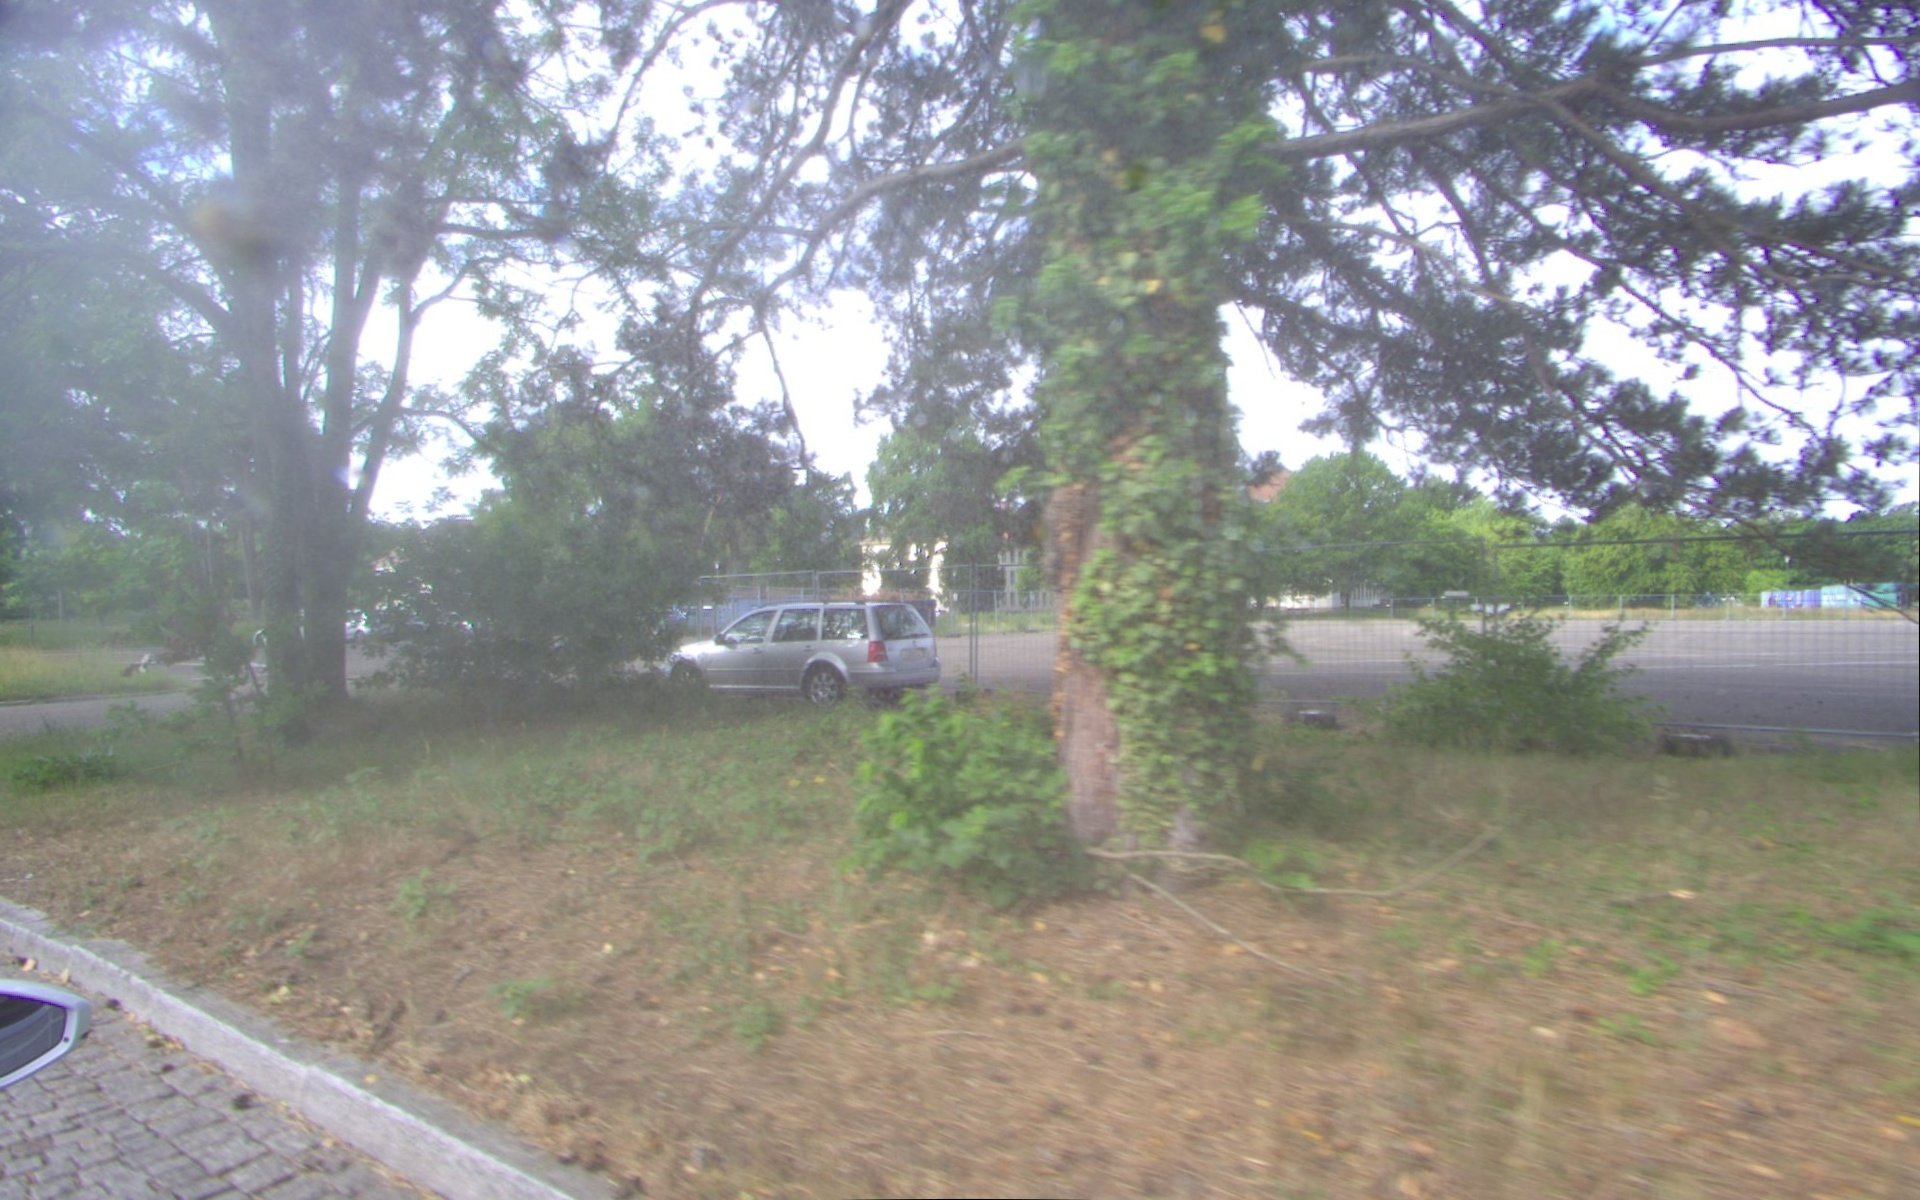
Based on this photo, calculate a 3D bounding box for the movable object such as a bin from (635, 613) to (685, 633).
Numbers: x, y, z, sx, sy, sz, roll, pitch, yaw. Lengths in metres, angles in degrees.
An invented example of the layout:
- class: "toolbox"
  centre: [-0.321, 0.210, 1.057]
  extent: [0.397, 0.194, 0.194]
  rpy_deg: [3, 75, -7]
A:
- class: "movable object such as a bin"
  centre: [-13.088, 1.004, 43.702]
  extent: [1.928, 0.836, 1.181]
  rpy_deg: [-1, 0, 37]

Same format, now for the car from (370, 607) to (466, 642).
- class: "car"
  centre: [-25.678, 1.155, 47.423]
  extent: [4.359, 1.500, 1.991]
  rpy_deg: [-2, -1, 29]

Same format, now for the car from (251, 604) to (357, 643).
- class: "car"
  centre: [-28.034, 1.015, 42.782]
  extent: [4.359, 1.500, 1.991]
  rpy_deg: [-2, -1, 29]

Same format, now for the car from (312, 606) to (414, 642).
- class: "car"
  centre: [-26.849, 1.082, 45.008]
  extent: [4.359, 1.500, 1.991]
  rpy_deg: [-2, -1, 29]

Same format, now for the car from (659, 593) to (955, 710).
- class: "car"
  centre: [-2.202, 0.697, 14.104]
  extent: [4.014, 1.444, 1.644]
  rpy_deg: [-1, -3, 31]
